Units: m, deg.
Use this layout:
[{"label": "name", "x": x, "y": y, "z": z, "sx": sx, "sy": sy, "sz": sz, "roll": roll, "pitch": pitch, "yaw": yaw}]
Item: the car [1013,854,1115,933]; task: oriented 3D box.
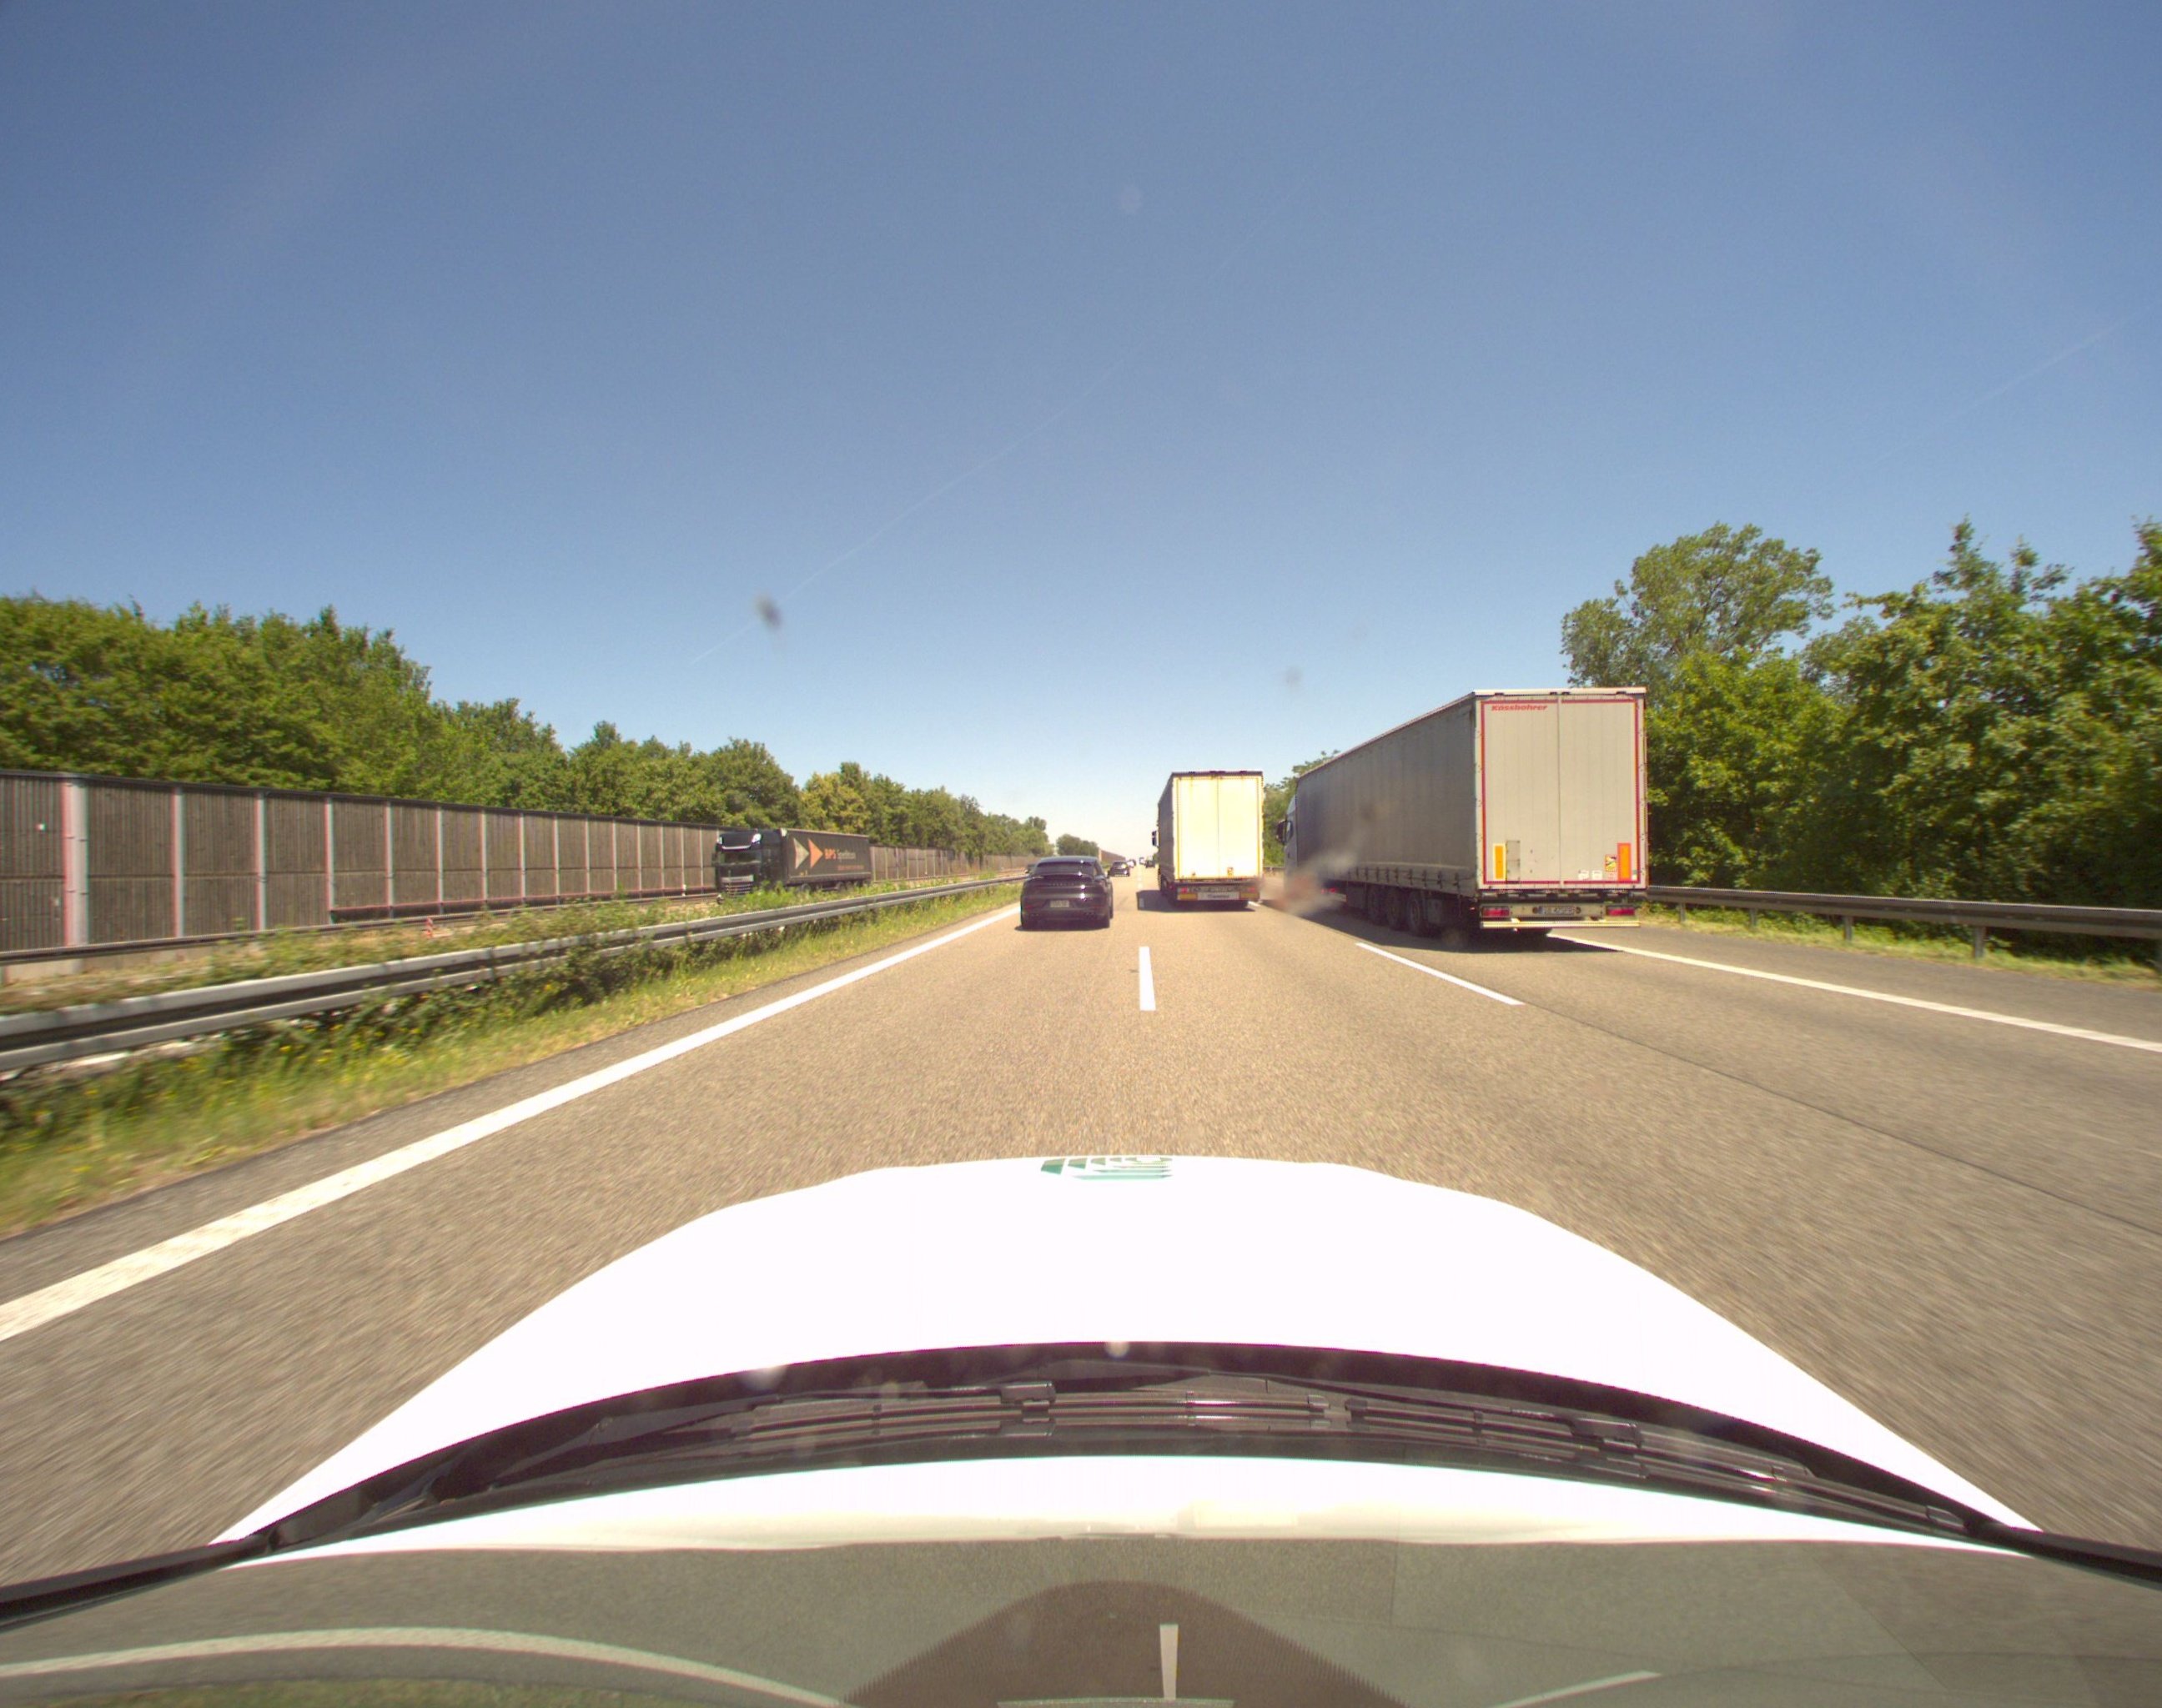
[{"label": "car", "x": -0.242, "y": 0.855, "z": 20.262, "sx": 2.035, "sy": 1.625, "sz": 5.776, "roll": -2, "pitch": 0, "yaw": 3}]

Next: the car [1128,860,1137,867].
[{"label": "car", "x": 12.387, "y": 2.237, "z": 195.727, "sx": 1.848, "sy": 1.617, "sz": 4.002, "roll": -3, "pitch": -1, "yaw": 2}]

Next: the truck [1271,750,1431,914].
[{"label": "truck", "x": 8.015, "y": -0.544, "z": 25.365, "sx": 2.680, "sy": 4.215, "sz": 7.845, "roll": -2, "pitch": -1, "yaw": 3}]

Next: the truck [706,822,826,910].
[{"label": "truck", "x": -16.261, "y": 0.623, "z": 42.815, "sx": 2.716, "sy": 4.086, "sz": 7.845, "roll": -2, "pitch": -1, "yaw": 3}]

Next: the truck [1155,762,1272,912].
[{"label": "truck", "x": 4.297, "y": -0.430, "z": 29.452, "sx": 2.695, "sy": 4.086, "sz": 13.486, "roll": -2, "pitch": -1, "yaw": 4}]

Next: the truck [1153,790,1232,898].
[{"label": "truck", "x": 4.652, "y": -0.354, "z": 35.356, "sx": 2.716, "sy": 4.086, "sz": 7.283, "roll": -2, "pitch": -1, "yaw": 3}]

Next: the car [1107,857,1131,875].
[{"label": "car", "x": 3.693, "y": 1.086, "z": 77.905, "sx": 1.934, "sy": 1.506, "sz": 5.829, "roll": -3, "pitch": 0, "yaw": 5}]

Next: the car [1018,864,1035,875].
[{"label": "car", "x": -8.205, "y": 2.323, "z": 122.437, "sx": 1.951, "sy": 1.433, "sz": 4.884, "roll": -2, "pitch": -1, "yaw": 3}]

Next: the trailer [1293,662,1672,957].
[{"label": "trailer", "x": 7.585, "y": -0.597, "z": 18.542, "sx": 2.692, "sy": 4.216, "sz": 13.224, "roll": -2, "pitch": -1, "yaw": 4}]

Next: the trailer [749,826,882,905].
[{"label": "trailer", "x": -15.790, "y": 0.663, "z": 50.148, "sx": 2.716, "sy": 4.086, "sz": 13.902, "roll": -2, "pitch": -1, "yaw": 4}]

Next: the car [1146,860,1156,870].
[{"label": "car", "x": 12.697, "y": 1.963, "z": 148.201, "sx": 1.847, "sy": 1.617, "sz": 4.005, "roll": -2, "pitch": 0, "yaw": 4}]

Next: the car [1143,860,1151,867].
[{"label": "car", "x": 16.465, "y": 2.391, "z": 202.411, "sx": 1.848, "sy": 1.617, "sz": 4.002, "roll": -3, "pitch": -1, "yaw": 2}]

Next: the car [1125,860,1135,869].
[{"label": "car", "x": 9.367, "y": 1.977, "z": 155.813, "sx": 1.846, "sy": 1.486, "sz": 4.006, "roll": -3, "pitch": -1, "yaw": 5}]
